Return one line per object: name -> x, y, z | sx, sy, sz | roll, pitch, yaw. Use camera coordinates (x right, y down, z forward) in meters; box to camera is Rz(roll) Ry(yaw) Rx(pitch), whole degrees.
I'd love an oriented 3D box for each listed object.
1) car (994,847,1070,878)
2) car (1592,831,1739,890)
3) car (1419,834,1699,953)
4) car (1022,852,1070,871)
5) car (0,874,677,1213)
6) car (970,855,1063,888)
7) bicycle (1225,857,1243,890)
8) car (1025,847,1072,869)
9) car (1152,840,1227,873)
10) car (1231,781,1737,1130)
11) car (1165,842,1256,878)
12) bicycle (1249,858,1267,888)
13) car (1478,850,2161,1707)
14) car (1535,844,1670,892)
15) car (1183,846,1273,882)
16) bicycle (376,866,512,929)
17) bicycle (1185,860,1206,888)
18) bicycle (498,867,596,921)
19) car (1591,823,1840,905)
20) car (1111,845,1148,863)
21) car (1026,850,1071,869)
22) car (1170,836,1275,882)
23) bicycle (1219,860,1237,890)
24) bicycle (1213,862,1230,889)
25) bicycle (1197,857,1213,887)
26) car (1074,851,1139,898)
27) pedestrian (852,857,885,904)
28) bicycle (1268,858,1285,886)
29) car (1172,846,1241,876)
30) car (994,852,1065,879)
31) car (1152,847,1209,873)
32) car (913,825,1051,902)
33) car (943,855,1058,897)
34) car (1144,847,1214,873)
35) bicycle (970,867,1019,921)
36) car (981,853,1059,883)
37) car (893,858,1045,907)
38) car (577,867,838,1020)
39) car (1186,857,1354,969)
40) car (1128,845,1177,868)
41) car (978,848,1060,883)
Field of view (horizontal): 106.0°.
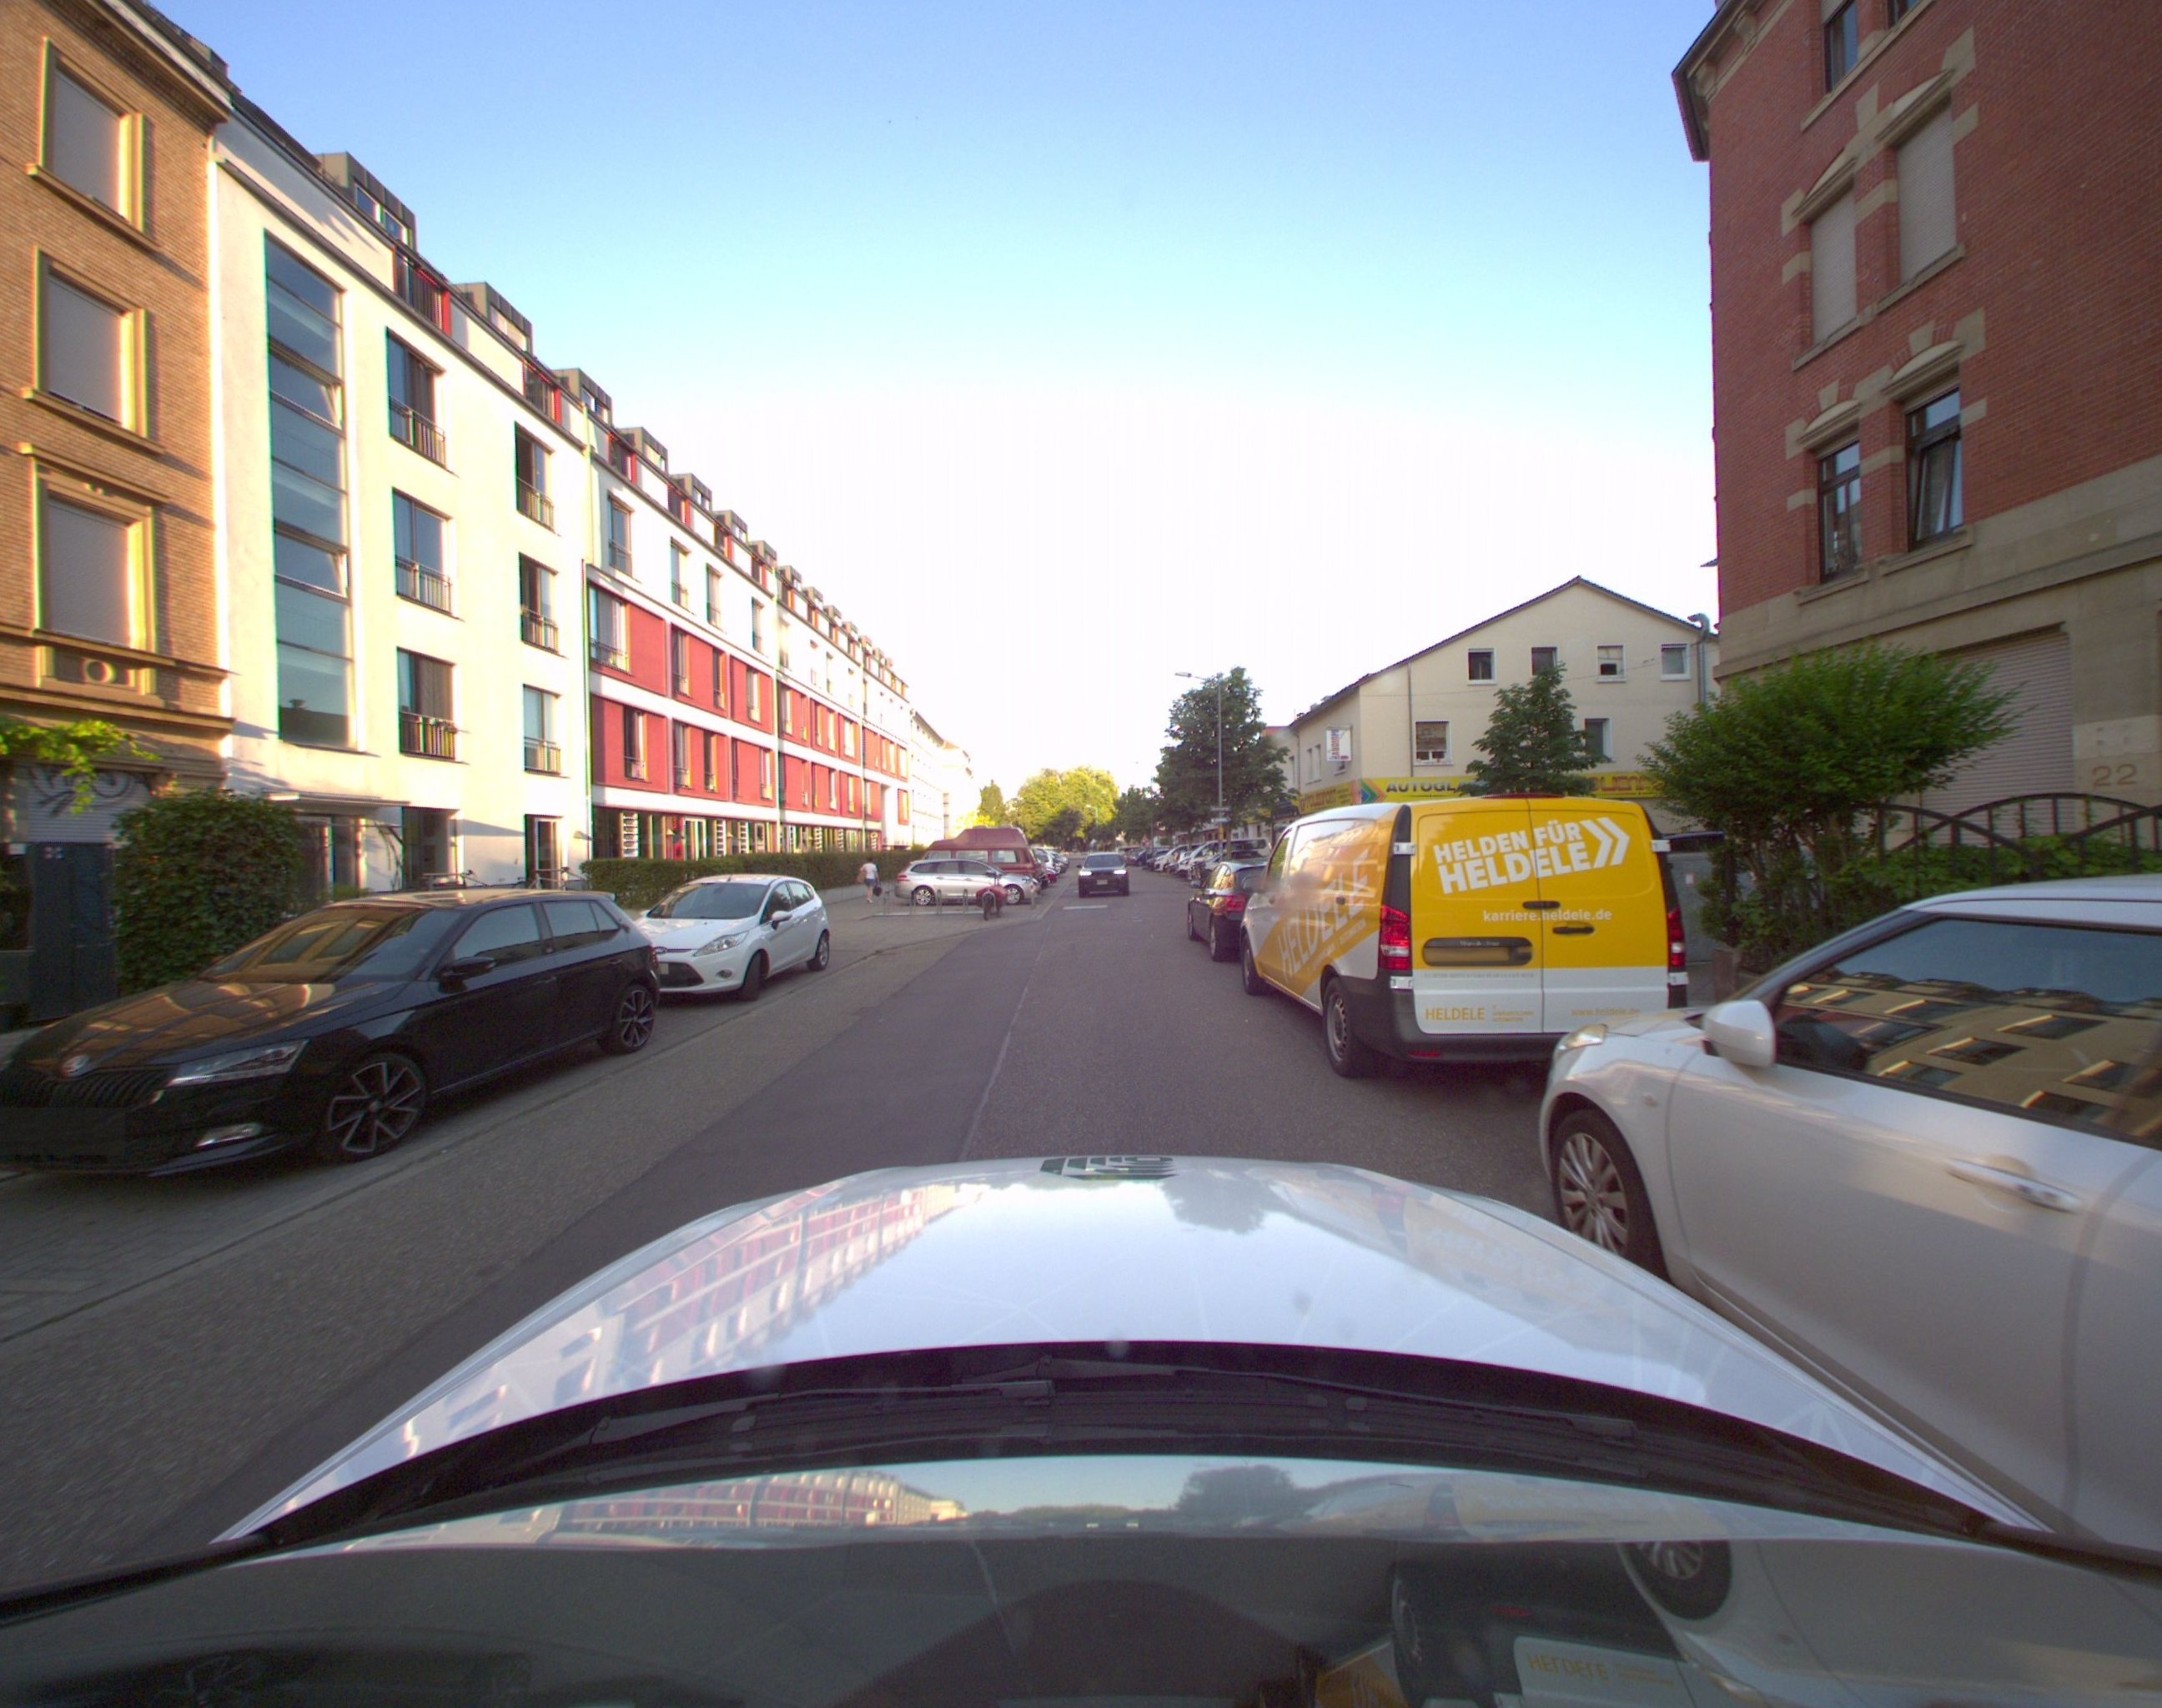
car -> -3.186, 0.548, 53.431 | 4.833, 2.021, 1.907 | 0, 0, 1
car -> 20.282, 0.159, 28.559 | 1.866, 1.831, 4.577 | -2, 1, 0
car -> 7.043, 0.502, 12.643 | 1.720, 1.424, 4.423 | -3, 0, 0
car -> -3.188, 0.678, 74.533 | 4.241, 1.714, 2.000 | 0, 0, 1
car -> -4.781, 0.973, 5.890 | 1.697, 1.534, 3.845 | -1, 0, 1
car -> -3.020, 0.812, 38.620 | 4.193, 1.490, 1.850 | 0, 0, 1
bicycle -> 6.557, 0.818, 34.931 | 0.384, 1.304, 2.018 | -3, 0, 2
car -> -3.232, 0.382, 81.946 | 4.517, 2.134, 2.000 | 0, 0, 1
car -> 7.552, 0.183, 57.090 | 4.929, 1.958, 2.048 | -3, 0, -1
car -> 2.677, 0.550, 7.006 | 1.887, 1.884, 5.082 | -1, 0, 1
car -> 7.424, 0.332, 47.184 | 4.925, 1.742, 2.050 | -3, 0, 1
bicycle -> 7.547, 0.799, 34.728 | 0.443, 1.200, 1.482 | -3, 0, 2
car -> 2.531, 0.741, 1.754 | 1.667, 1.477, 3.865 | -1, 0, 4
car -> 18.060, 0.461, 28.494 | 1.736, 1.509, 4.571 | -2, 0, -1
car -> 6.989, 0.476, 39.056 | 3.908, 1.451, 1.767 | -4, 0, -2
bicycle -> -11.865, 0.799, 15.206 | 1.908, 1.141, 0.812 | 0, 0, 1
bicycle -> 4.879, 0.825, 34.741 | 0.437, 1.130, 2.014 | -3, 0, -4
bicycle -> -11.679, 0.874, 17.827 | 1.768, 1.148, 0.611 | 0, 0, 3
car -> 14.604, 0.236, 18.915 | 4.306, 1.672, 1.878 | -2, -2, -1
car -> 5.656, 0.022, 95.065 | 3.960, 1.911, 2.046 | -3, 0, -4
car -> -3.139, 0.537, 79.307 | 4.241, 1.749, 2.000 | 0, 0, 1
car -> 7.201, 0.260, 41.841 | 4.972, 1.983, 2.220 | -3, 0, 1
bicycle -> 6.298, 0.882, 34.926 | 0.384, 1.200, 2.018 | -3, 0, 2
bicycle -> 6.014, 0.904, 34.944 | 0.384, 1.114, 2.018 | -3, 0, 2
bicycle -> 5.298, 0.766, 34.922 | 0.384, 1.200, 2.018 | -3, 0, 2
car -> 0.996, 0.682, 29.540 | 1.769, 1.517, 4.011 | -3, 0, 9
pedestrian -> -6.943, 0.854, 26.653 | 0.829, 1.501, 0.798 | 0, 0, 1
bicycle -> 8.335, 0.748, 34.788 | 0.351, 1.143, 1.482 | -3, 0, 2
car -> 7.640, 0.415, 49.815 | 3.897, 1.526, 1.940 | -3, 0, 2
car -> -3.165, 0.702, 50.874 | 4.241, 1.652, 1.888 | 0, 0, 1
car -> 8.143, 0.496, 66.849 | 4.304, 1.804, 1.810 | -3, 0, -1
car -> -3.382, 0.332, 28.445 | 4.493, 2.584, 2.001 | 0, 0, 2
car -> -3.014, 0.814, 31.009 | 4.196, 1.538, 1.790 | 0, 0, -1
car -> 7.409, 0.444, 61.952 | 4.929, 1.689, 2.076 | -3, 0, -1
bicycle -> -2.139, 0.956, 20.504 | 0.804, 1.221, 2.867 | 0, 0, 3
car -> -3.442, 0.779, 46.521 | 4.241, 1.660, 2.000 | 0, 0, 1
car -> -3.463, 0.865, 25.867 | 4.604, 1.460, 1.879 | 0, 0, -3
car -> -4.590, 0.984, 10.724 | 1.646, 1.530, 4.015 | -1, 0, -2
car -> 2.724, 0.769, 12.689 | 1.715, 1.424, 4.254 | 0, 0, 1
car -> 6.941, 0.239, 79.304 | 4.470, 1.911, 1.685 | -3, 0, -4
car -> -3.314, 0.603, 44.046 | 4.241, 1.836, 2.000 | 0, 0, 1
